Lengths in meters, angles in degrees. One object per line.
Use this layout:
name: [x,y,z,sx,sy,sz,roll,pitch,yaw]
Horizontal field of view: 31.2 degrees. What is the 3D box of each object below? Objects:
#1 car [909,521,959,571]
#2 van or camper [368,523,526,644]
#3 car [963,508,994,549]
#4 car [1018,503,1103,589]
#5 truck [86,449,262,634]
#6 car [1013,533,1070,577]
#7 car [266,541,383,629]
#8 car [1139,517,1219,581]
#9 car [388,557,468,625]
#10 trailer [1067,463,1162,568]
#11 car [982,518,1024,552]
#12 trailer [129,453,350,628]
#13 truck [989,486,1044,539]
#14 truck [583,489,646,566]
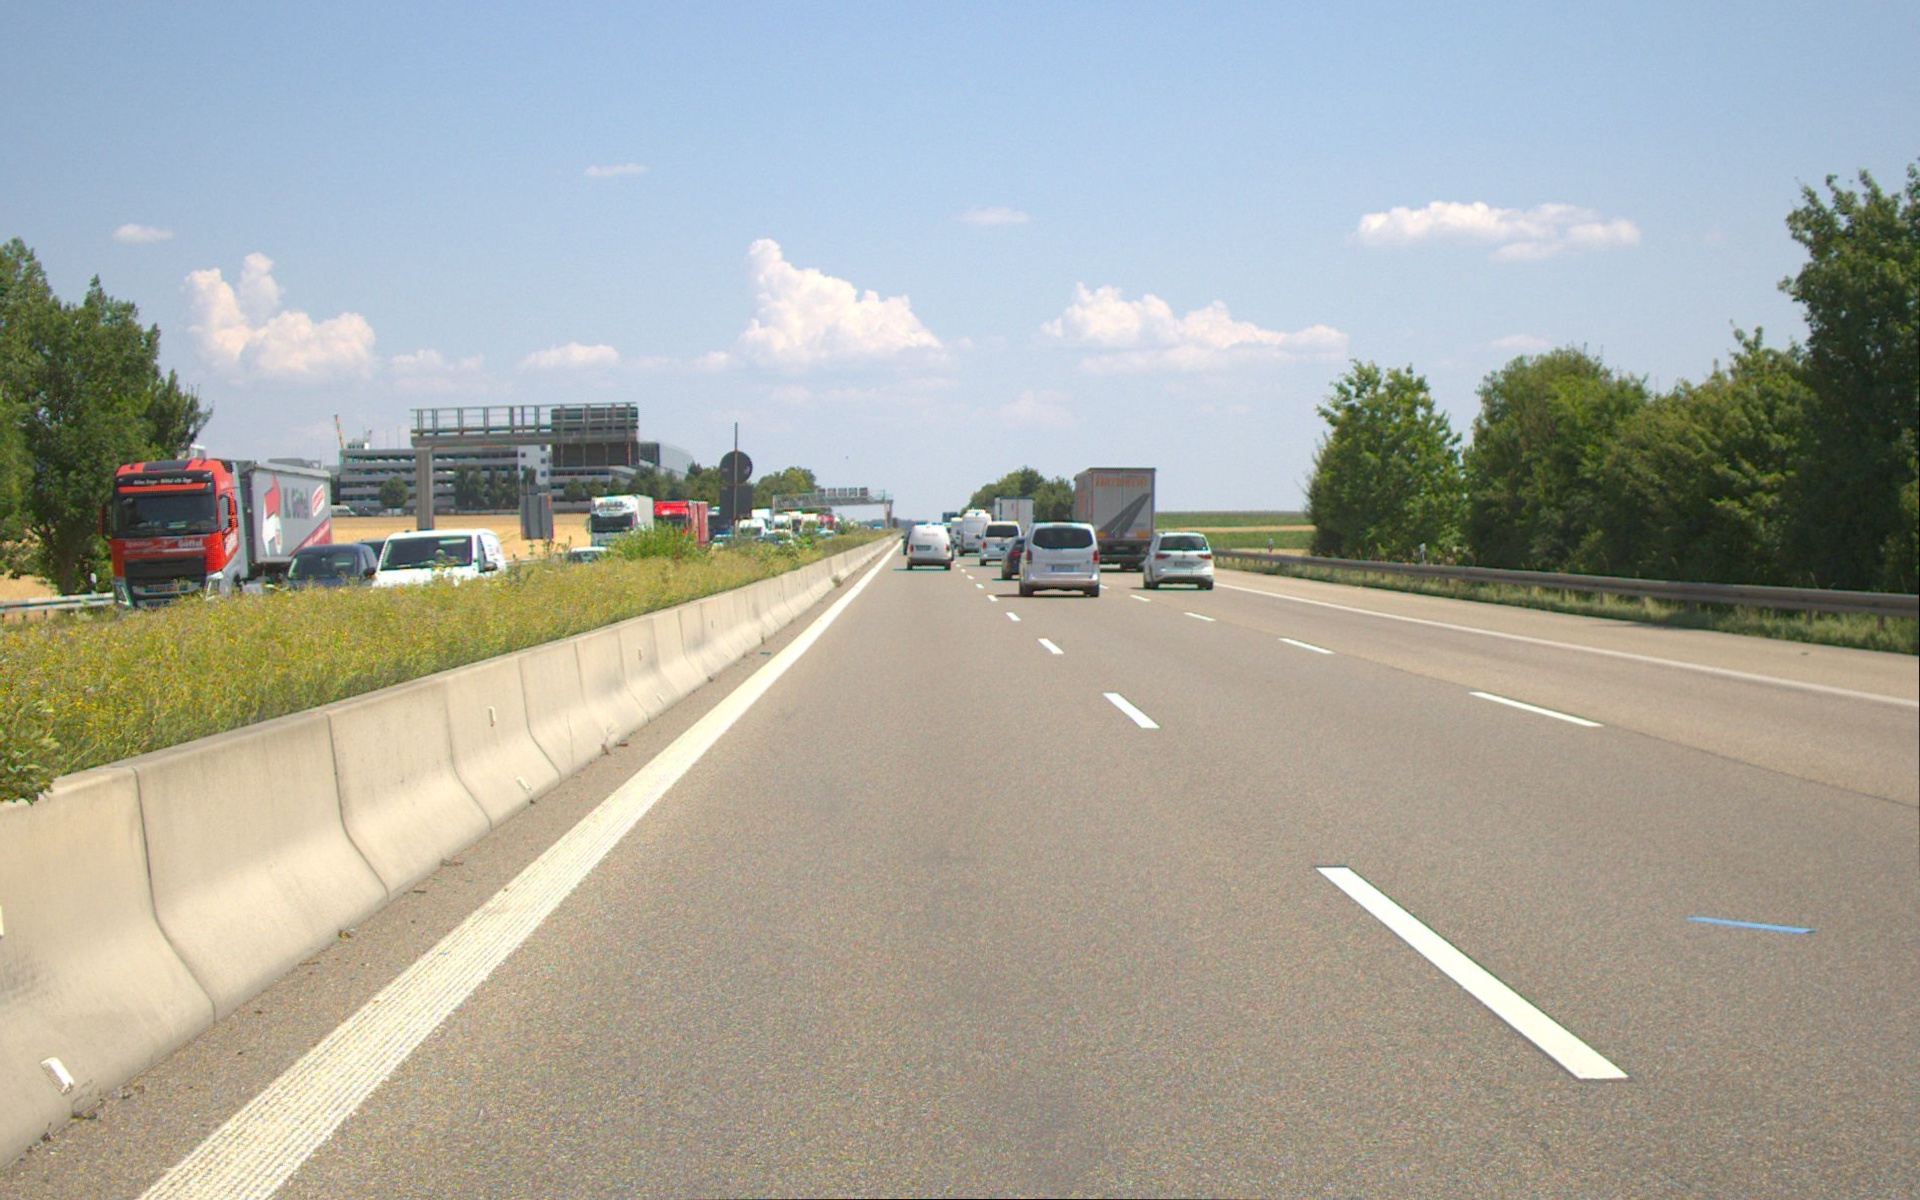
car: [-1.051,-2.176,139.528,1.993,2.007,4.000,0,0,-1]
van or camper: [-8.629,-0.316,58.247,1.993,1.926,5.202,-1,1,-2]
car: [1.111,-4.343,208.632,1.773,2.384,4.000,0,0,-1]
car: [2.508,-1.332,86.613,1.993,2.112,4.000,0,0,-1]
truck: [-17.097,-1.287,75.023,2.856,3.842,4.000,-2,1,-1]
car: [2.714,-1.488,114.849,1.773,1.442,4.000,0,0,-1]
car: [-12.978,-0.341,70.393,1.694,1.721,4.262,-1,1,-2]
car: [6.227,-1.433,98.246,1.993,1.788,4.000,0,0,-1]
car: [-16.356,-0.304,105.896,1.761,1.946,5.119,-2,1,-2]
trailer: [6.126,-3.306,137.397,3.277,3.953,9.113,0,0,-1]
car: [1.936,-2.922,155.507,1.773,1.442,4.000,0,0,-1]
trailer: [-17.221,-1.445,83.114,2.856,3.842,12.186,-2,1,-1]
truck: [4.276,-6.583,260.841,3.815,3.891,9.581,-1,1,-1]
truck: [-19.359,-4.081,192.956,2.950,4.143,5.472,-2,1,-1]
